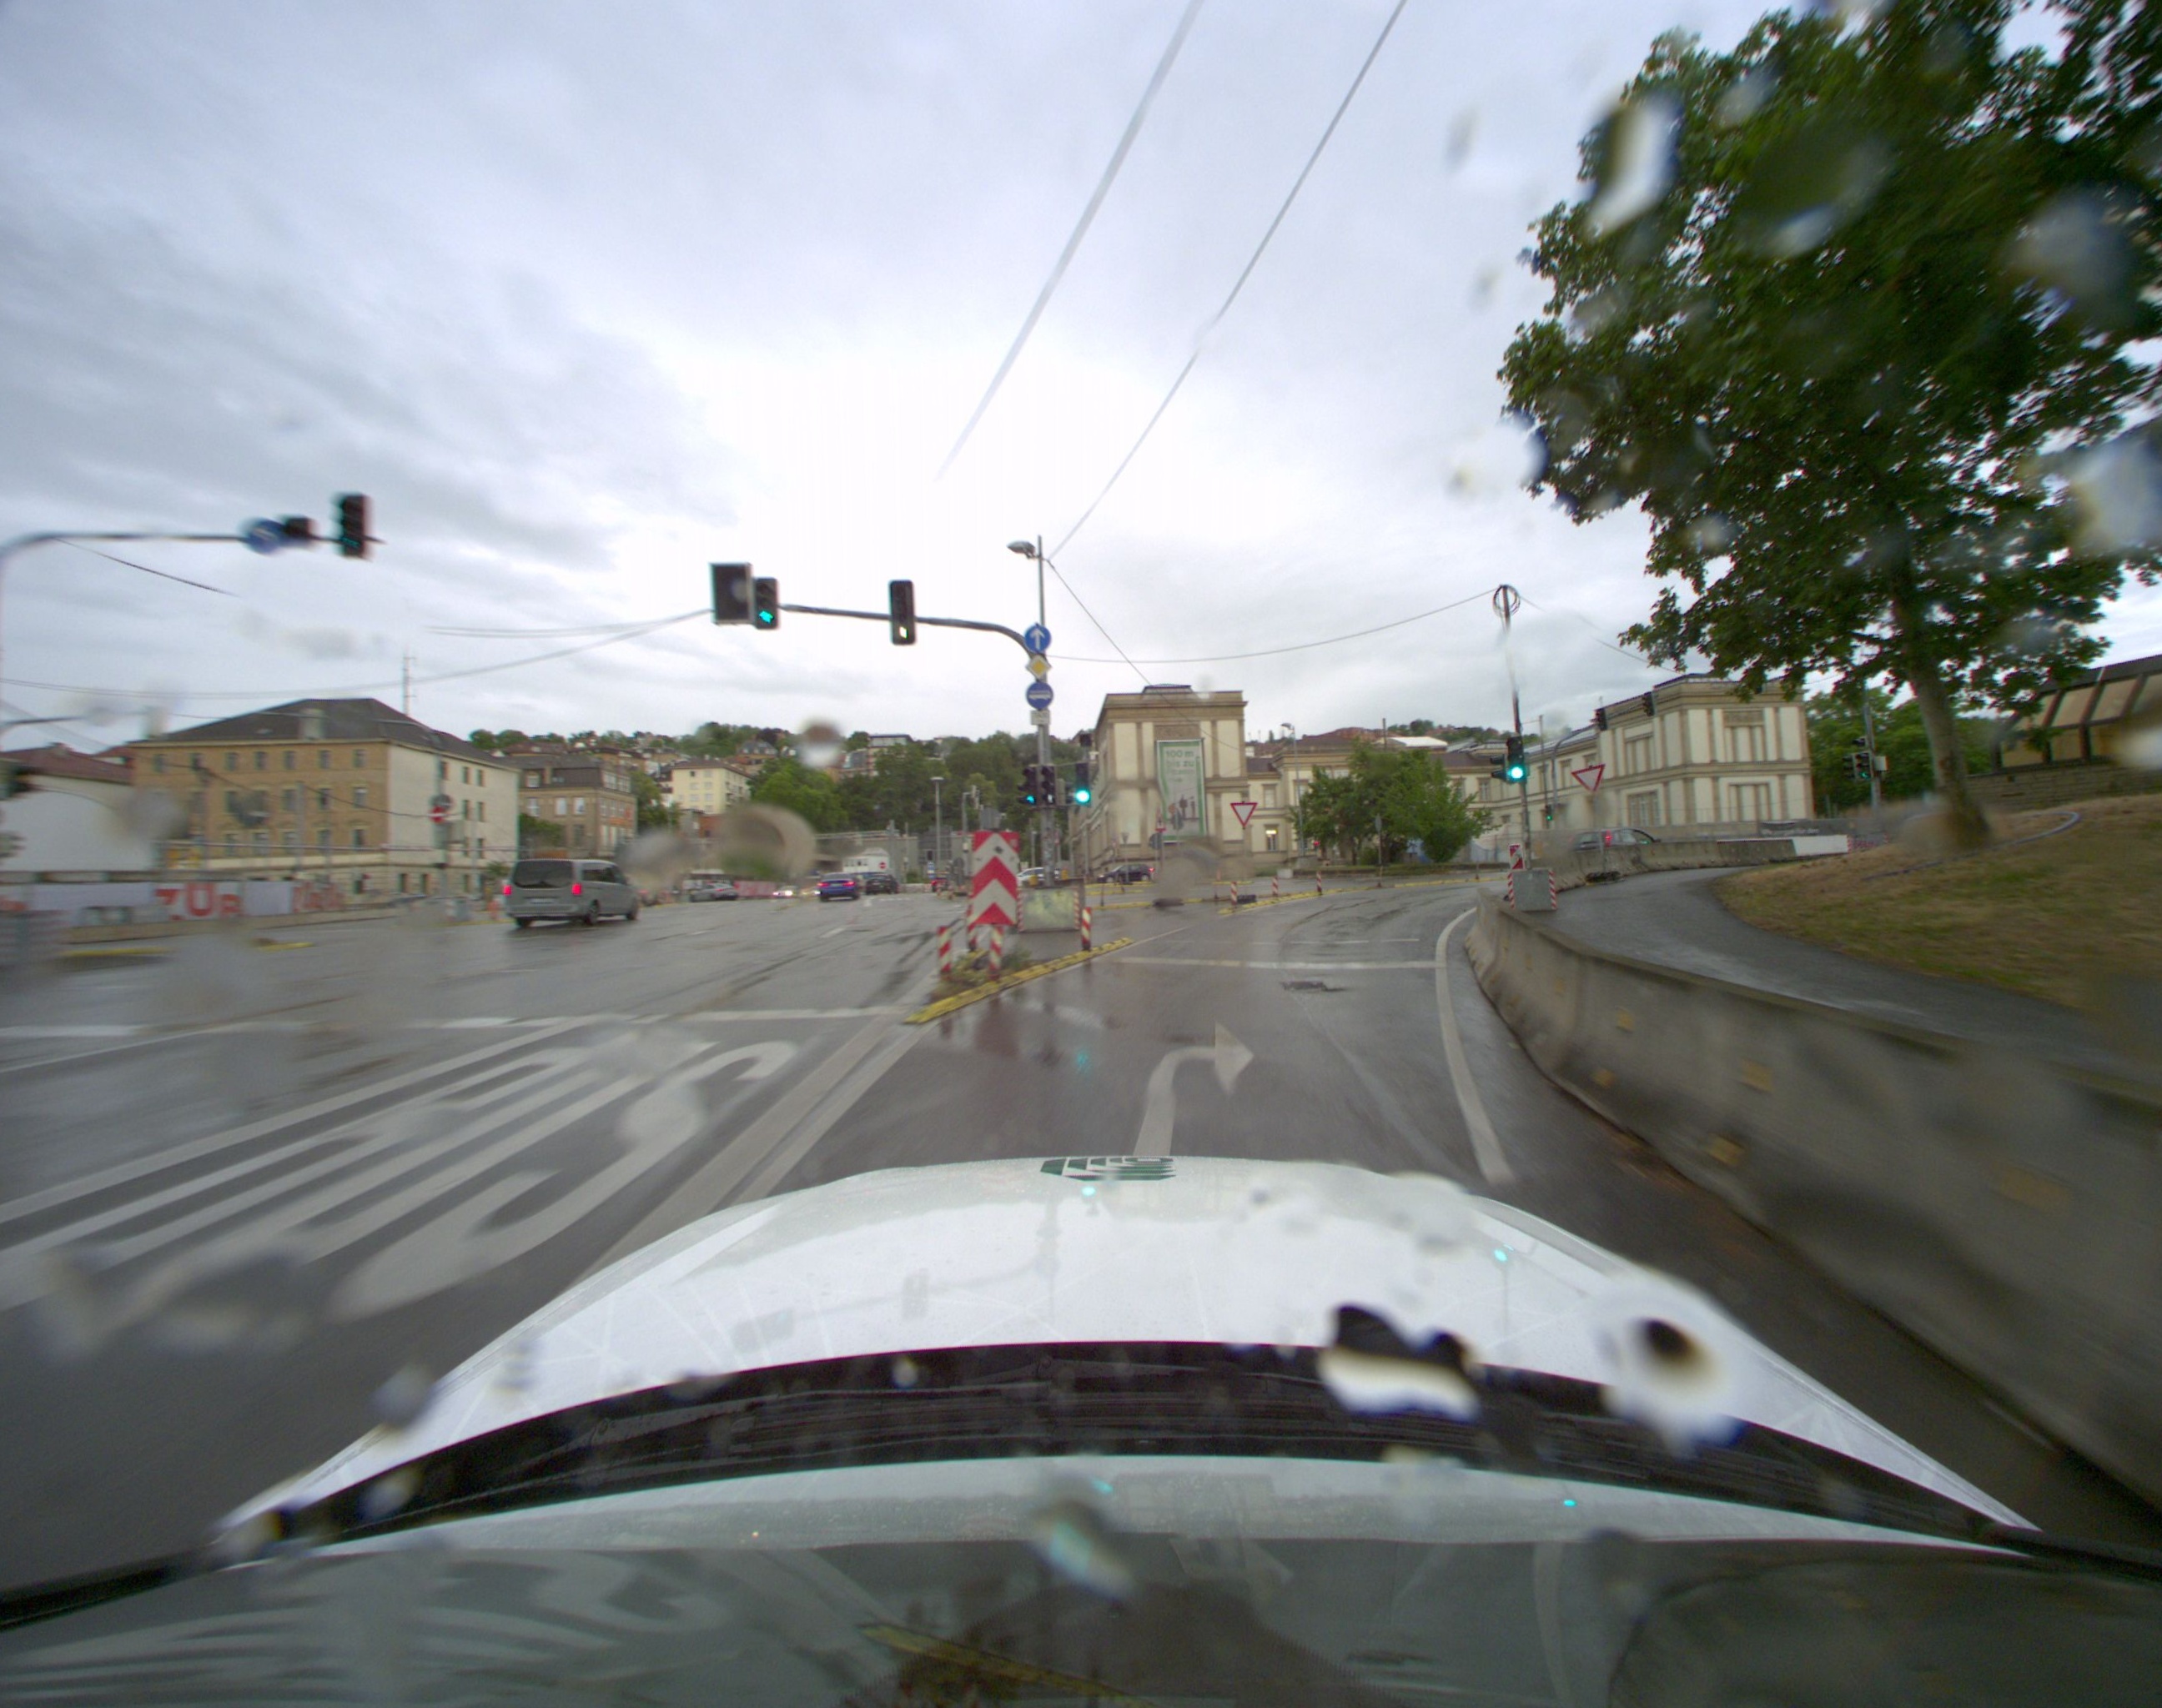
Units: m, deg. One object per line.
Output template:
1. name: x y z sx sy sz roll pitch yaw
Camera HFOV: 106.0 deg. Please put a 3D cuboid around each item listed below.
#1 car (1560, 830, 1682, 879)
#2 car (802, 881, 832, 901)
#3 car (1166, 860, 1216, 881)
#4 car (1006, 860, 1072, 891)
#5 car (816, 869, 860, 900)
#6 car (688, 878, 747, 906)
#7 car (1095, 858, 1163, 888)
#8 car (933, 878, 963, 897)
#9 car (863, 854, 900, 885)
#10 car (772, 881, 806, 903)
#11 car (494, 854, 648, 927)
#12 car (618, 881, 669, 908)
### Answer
1. car: 16.975 -0.009 25.568 3.768 1.427 1.659 -1 0 -30
2. car: -30.046 4.174 92.781 1.986 2.013 4.002 -1 0 2
3. car: 9.759 1.468 72.749 4.170 1.701 1.821 -1 0 -2
4. car: -3.059 1.516 58.592 4.621 2.013 1.995 -1 0 -7
5. car: -12.332 1.525 41.391 1.998 1.438 3.977 -1 -1 -17
6. car: -27.733 2.869 62.105 4.239 2.013 2.013 -1 0 32
7. car: 3.485 1.378 59.485 4.670 2.013 1.995 -1 0 -7
8. car: -12.536 3.169 76.805 1.985 1.634 4.003 0 0 3
9. car: -14.076 1.058 57.570 1.992 2.013 3.990 -2 0 -7
10. car: -30.383 3.915 84.922 1.986 2.013 4.002 -1 0 2
11. car: -14.528 0.976 23.581 1.992 1.839 4.670 -1 -1 -8
12. car: -30.955 2.810 57.545 3.948 1.750 1.793 -1 0 40
